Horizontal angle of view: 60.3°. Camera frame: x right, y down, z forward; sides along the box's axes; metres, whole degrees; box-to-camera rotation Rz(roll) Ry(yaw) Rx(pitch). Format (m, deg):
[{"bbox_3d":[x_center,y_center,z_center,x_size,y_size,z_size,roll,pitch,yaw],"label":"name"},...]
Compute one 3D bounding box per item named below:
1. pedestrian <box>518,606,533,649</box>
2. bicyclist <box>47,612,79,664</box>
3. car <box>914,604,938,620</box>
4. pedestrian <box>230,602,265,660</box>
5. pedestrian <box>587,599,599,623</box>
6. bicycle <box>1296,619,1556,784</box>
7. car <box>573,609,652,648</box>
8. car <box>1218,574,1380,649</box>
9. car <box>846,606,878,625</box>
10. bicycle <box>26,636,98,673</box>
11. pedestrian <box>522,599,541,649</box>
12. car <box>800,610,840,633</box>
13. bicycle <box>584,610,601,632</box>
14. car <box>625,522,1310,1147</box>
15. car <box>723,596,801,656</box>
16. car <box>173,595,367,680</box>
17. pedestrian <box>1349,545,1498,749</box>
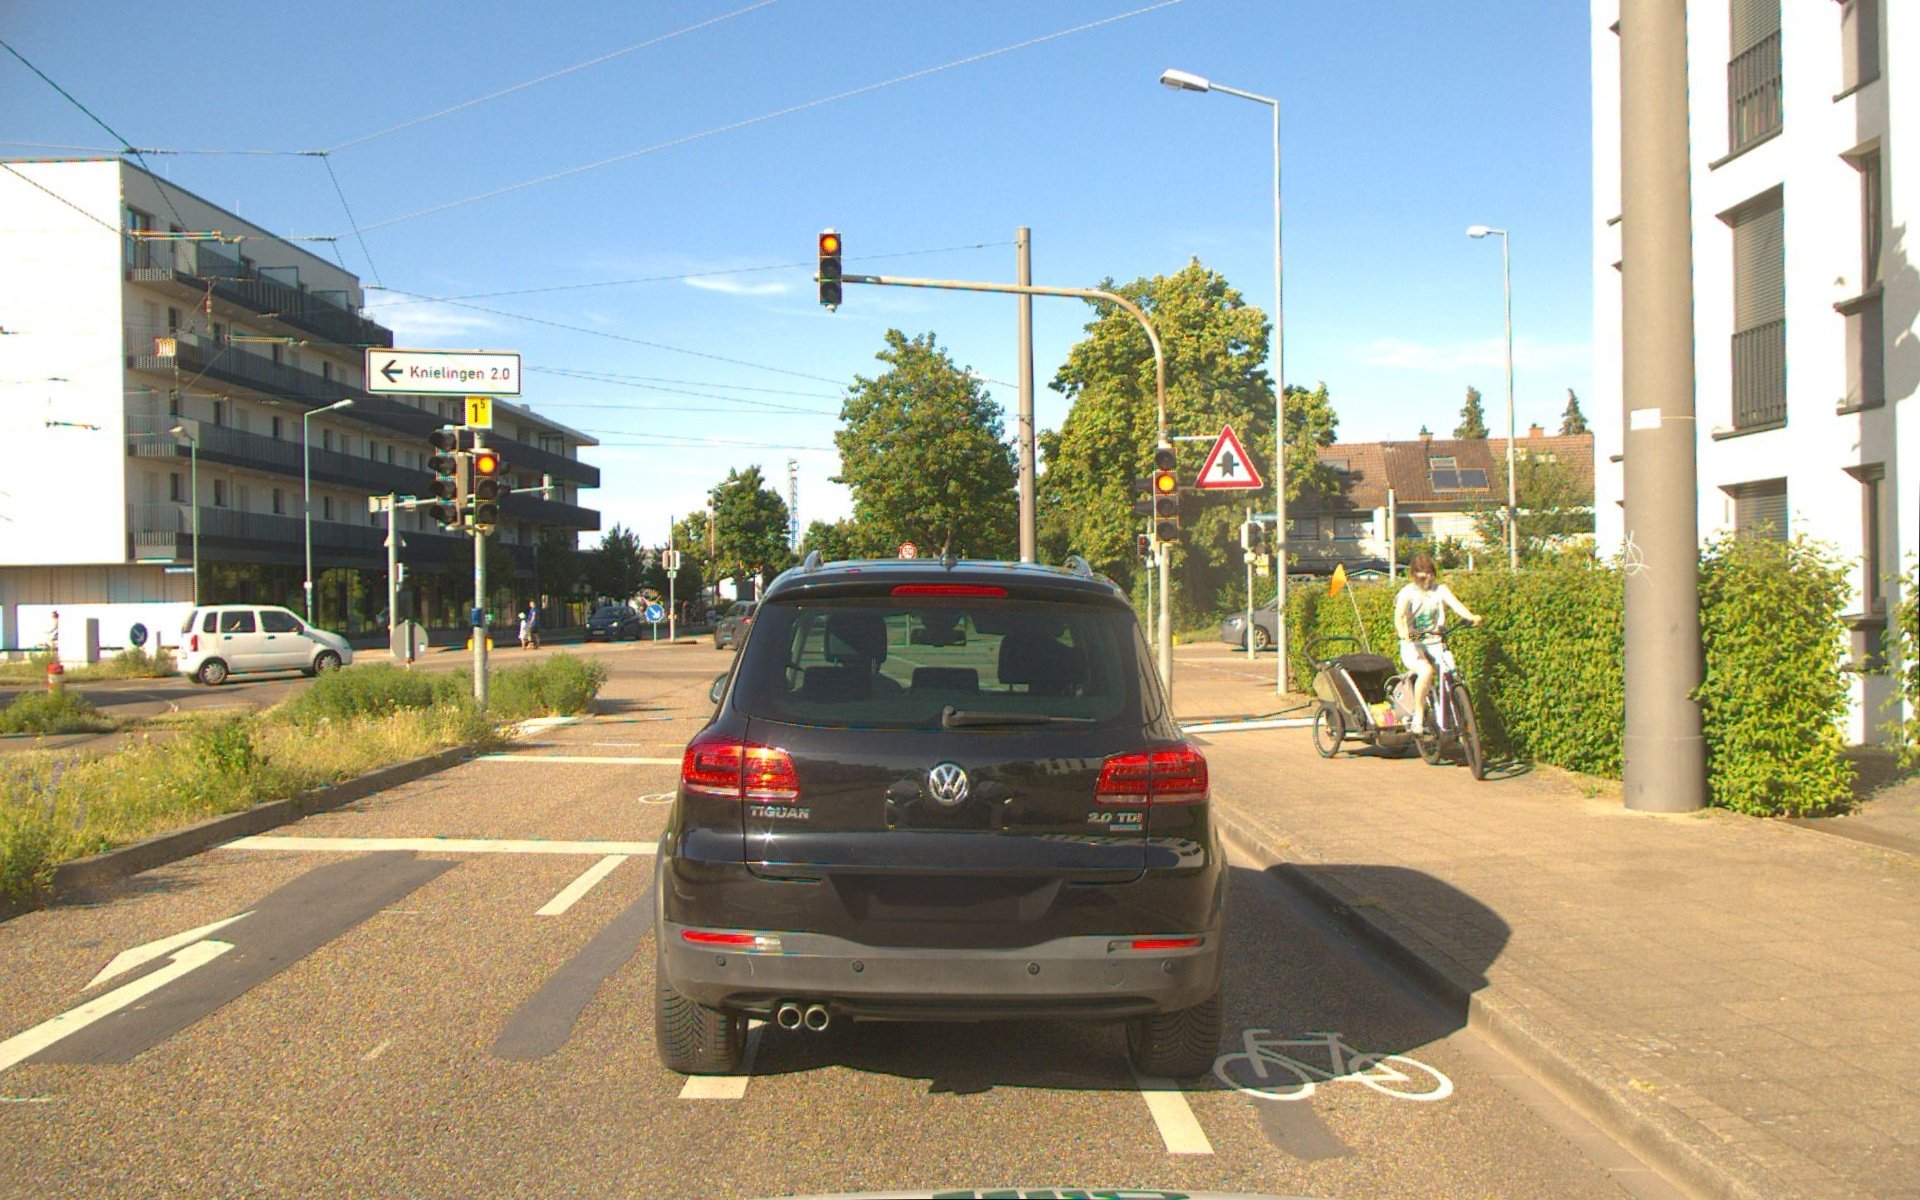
[{"bbox_3d":[-15.473,0.976,58.907,0.433,1.529,0.517,1,-1,-6],"label":"pedestrian"},{"bbox_3d":[-28.856,1.214,53.207,0.627,1.642,0.783,1,-1,-9],"label":"bicyclist"},{"bbox_3d":[-3.675,1.288,179.436,1.951,1.601,4.342,1,0,7],"label":"car"},{"bbox_3d":[-21.518,0.923,49.980,0.798,1.721,0.619,-1,0,-9],"label":"pedestrian"},{"bbox_3d":[-23.245,0.701,104.727,0.629,1.535,0.596,1,-1,-1],"label":"pedestrian"},{"bbox_3d":[3.831,0.777,14.014,0.911,1.194,3.119,-1,0,-8],"label":"bicycle"},{"bbox_3d":[-15.218,1.226,72.593,1.951,1.601,4.343,1,0,9],"label":"car"},{"bbox_3d":[8.974,0.307,44.006,3.904,1.869,2.000,1,0,1],"label":"car"},{"bbox_3d":[-8.350,1.312,140.996,1.951,1.601,4.342,1,0,7],"label":"car"},{"bbox_3d":[-28.884,1.755,53.210,1.820,1.144,0.821,1,0,-9],"label":"bicycle"},{"bbox_3d":[-15.407,0.860,59.484,0.532,1.774,0.517,1,-1,-6],"label":"pedestrian"},{"bbox_3d":[-9.871,1.504,116.621,1.951,1.601,4.342,1,0,7],"label":"car"},{"bbox_3d":[-23.260,1.338,104.705,0.617,1.355,1.912,1,0,-1],"label":"bicycle"},{"bbox_3d":[-0.002,0.647,6.483,1.831,1.666,3.999,1,0,-1],"label":"car"},{"bbox_3d":[-5.967,0.771,50.133,1.953,1.713,3.999,1,0,-2],"label":"car"},{"bbox_3d":[-15.172,0.787,36.423,3.645,1.750,1.846,-1,0,-36],"label":"car"},{"bbox_3d":[3.848,0.381,13.787,0.893,1.622,0.853,-1,0,-8],"label":"pedestrian"}]
